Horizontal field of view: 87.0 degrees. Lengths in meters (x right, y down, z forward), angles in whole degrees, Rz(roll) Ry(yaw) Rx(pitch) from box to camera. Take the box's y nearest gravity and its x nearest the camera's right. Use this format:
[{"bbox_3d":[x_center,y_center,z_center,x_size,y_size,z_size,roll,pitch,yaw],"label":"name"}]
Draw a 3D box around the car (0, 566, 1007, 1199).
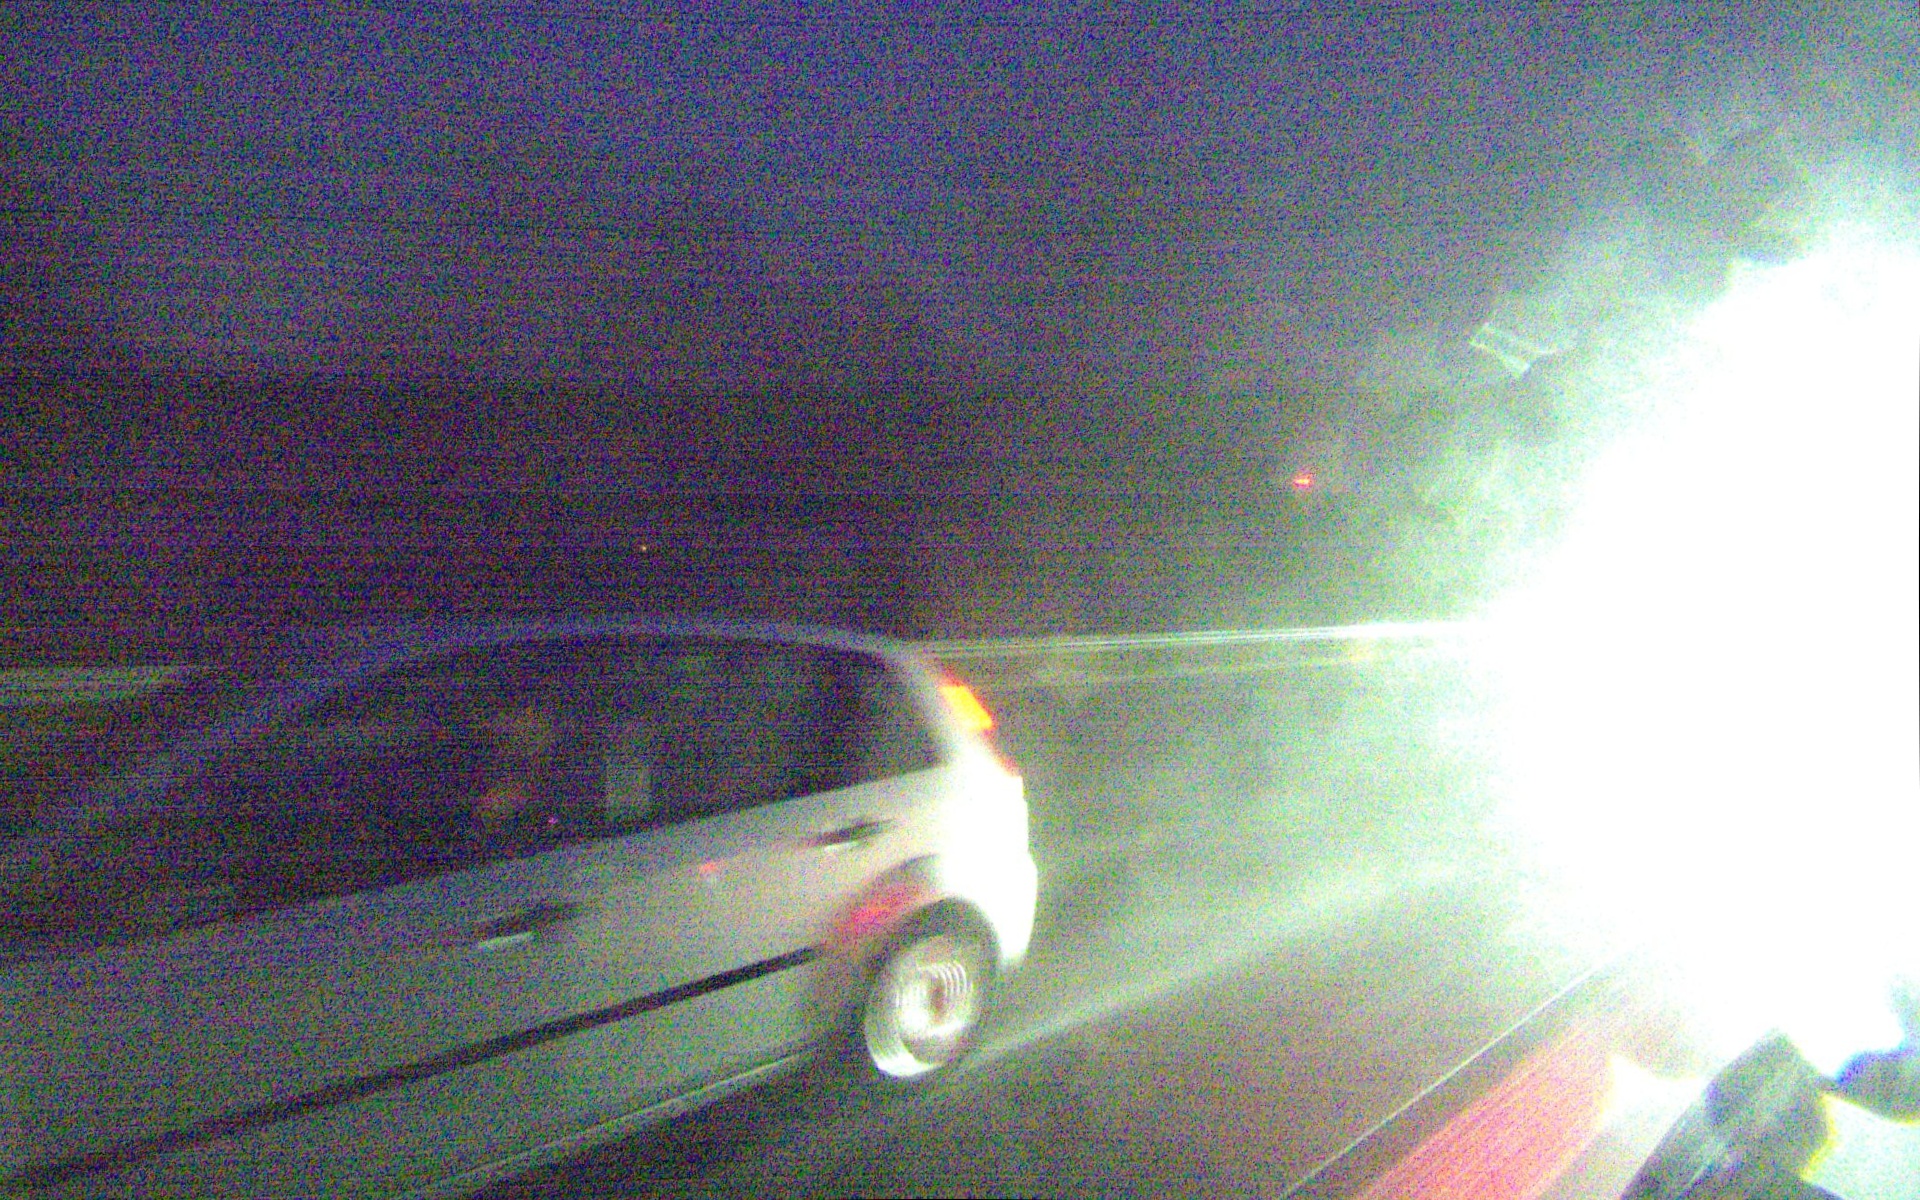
[{"bbox_3d":[-1.977,0.676,2.383,4.122,1.476,1.772,0,0,-41],"label":"car"}]
